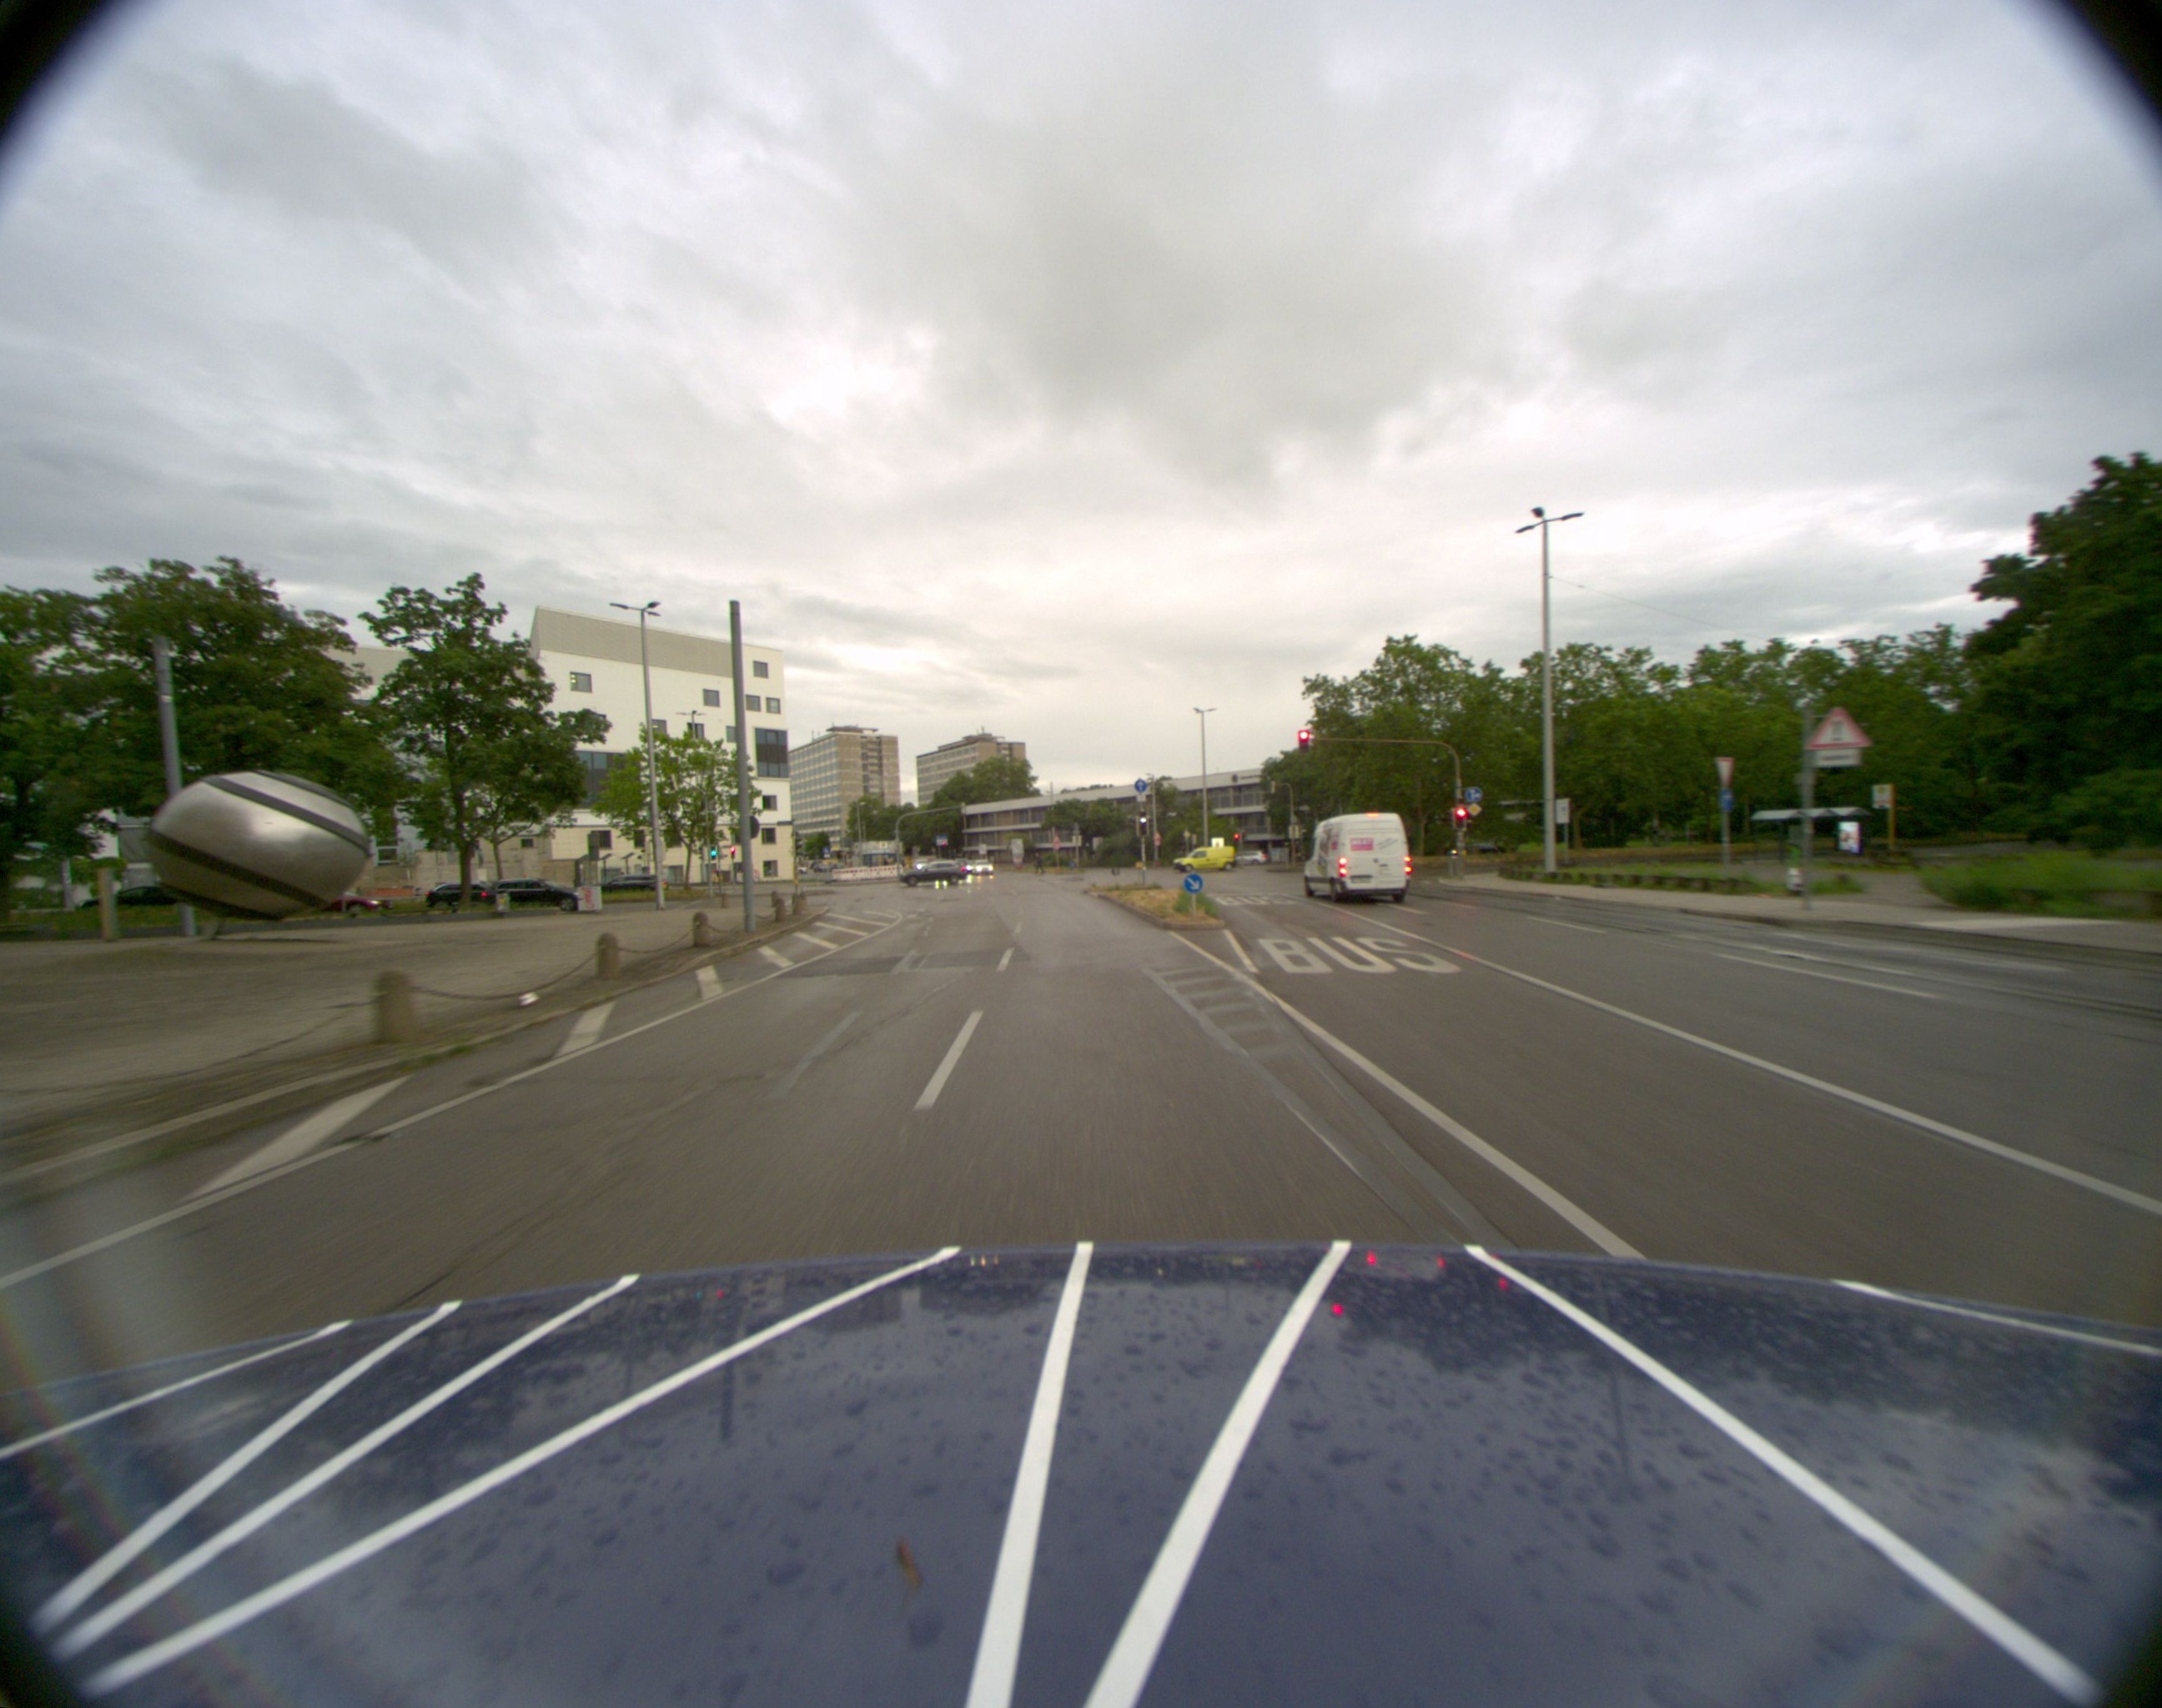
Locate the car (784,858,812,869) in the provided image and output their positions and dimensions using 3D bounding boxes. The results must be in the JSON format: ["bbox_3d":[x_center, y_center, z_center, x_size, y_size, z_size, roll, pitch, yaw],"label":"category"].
[{"bbox_3d":[-47.119,1.569,126.583,3.996,1.694,1.841,-2,0,3],"label":"car"}]

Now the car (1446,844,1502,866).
[{"bbox_3d":[36.127,0.075,69.971,4.338,1.900,2.080,-1,0,19],"label":"car"}]

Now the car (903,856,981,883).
[{"bbox_3d":[-9.988,1.101,54.505,5.295,1.790,2.046,-1,0,-15],"label":"car"}]

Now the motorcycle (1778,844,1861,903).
[{"bbox_3d":[16.503,0.415,17.016,0.516,1.240,1.267,-3,1,-6],"label":"motorcycle"}]

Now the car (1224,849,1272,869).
[{"bbox_3d":[16.665,0.486,75.900,4.337,1.900,2.081,-1,0,24],"label":"car"}]

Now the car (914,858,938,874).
[{"bbox_3d":[-19.238,1.498,94.283,2.079,1.900,4.554,-1,0,-23],"label":"car"}]

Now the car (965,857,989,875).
[{"bbox_3d":[-11.075,1.223,80.553,2.078,1.816,4.557,-1,0,-14],"label":"car"}]

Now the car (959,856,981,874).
[{"bbox_3d":[-12.840,1.242,87.466,2.078,1.900,4.557,-1,0,-14],"label":"car"}]

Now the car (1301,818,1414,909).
[{"bbox_3d":[8.592,0.273,24.203,1.987,2.514,5.634,-1,0,6],"label":"car"}]

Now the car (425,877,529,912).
[{"bbox_3d":[-30.251,2.019,38.202,3.744,1.572,1.757,-1,0,-22],"label":"car"}]

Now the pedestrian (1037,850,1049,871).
[{"bbox_3d":[-3.319,0.593,66.762,0.903,1.786,0.541,-3,1,2],"label":"pedestrian"}]

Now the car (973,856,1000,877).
[{"bbox_3d":[-9.285,1.226,74.621,2.078,1.900,4.557,-1,0,-14],"label":"car"}]

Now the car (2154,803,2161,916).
[{"bbox_3d":[17.807,0.036,9.595,2.020,1.744,4.711,-4,0,-41],"label":"car"}]

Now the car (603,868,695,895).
[{"bbox_3d":[-27.527,1.745,48.637,4.844,1.523,2.093,-1,0,-22],"label":"car"}]

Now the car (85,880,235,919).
[{"bbox_3d":[-47.152,2.296,39.069,4.467,1.703,2.072,-1,0,-34],"label":"car"}]

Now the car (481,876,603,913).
[{"bbox_3d":[-26.030,1.902,36.894,4.495,1.588,1.982,-1,0,-23],"label":"car"}]

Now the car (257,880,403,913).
[{"bbox_3d":[-35.581,1.965,36.175,4.618,1.358,1.776,-1,0,-26],"label":"car"}]

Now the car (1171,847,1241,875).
[{"bbox_3d":[9.582,0.522,58.435,4.824,1.995,2.122,-1,0,-9],"label":"car"}]

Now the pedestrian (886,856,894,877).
[{"bbox_3d":[-18.765,1.253,74.702,0.643,2.002,0.594,-2,0,-17],"label":"pedestrian"}]
